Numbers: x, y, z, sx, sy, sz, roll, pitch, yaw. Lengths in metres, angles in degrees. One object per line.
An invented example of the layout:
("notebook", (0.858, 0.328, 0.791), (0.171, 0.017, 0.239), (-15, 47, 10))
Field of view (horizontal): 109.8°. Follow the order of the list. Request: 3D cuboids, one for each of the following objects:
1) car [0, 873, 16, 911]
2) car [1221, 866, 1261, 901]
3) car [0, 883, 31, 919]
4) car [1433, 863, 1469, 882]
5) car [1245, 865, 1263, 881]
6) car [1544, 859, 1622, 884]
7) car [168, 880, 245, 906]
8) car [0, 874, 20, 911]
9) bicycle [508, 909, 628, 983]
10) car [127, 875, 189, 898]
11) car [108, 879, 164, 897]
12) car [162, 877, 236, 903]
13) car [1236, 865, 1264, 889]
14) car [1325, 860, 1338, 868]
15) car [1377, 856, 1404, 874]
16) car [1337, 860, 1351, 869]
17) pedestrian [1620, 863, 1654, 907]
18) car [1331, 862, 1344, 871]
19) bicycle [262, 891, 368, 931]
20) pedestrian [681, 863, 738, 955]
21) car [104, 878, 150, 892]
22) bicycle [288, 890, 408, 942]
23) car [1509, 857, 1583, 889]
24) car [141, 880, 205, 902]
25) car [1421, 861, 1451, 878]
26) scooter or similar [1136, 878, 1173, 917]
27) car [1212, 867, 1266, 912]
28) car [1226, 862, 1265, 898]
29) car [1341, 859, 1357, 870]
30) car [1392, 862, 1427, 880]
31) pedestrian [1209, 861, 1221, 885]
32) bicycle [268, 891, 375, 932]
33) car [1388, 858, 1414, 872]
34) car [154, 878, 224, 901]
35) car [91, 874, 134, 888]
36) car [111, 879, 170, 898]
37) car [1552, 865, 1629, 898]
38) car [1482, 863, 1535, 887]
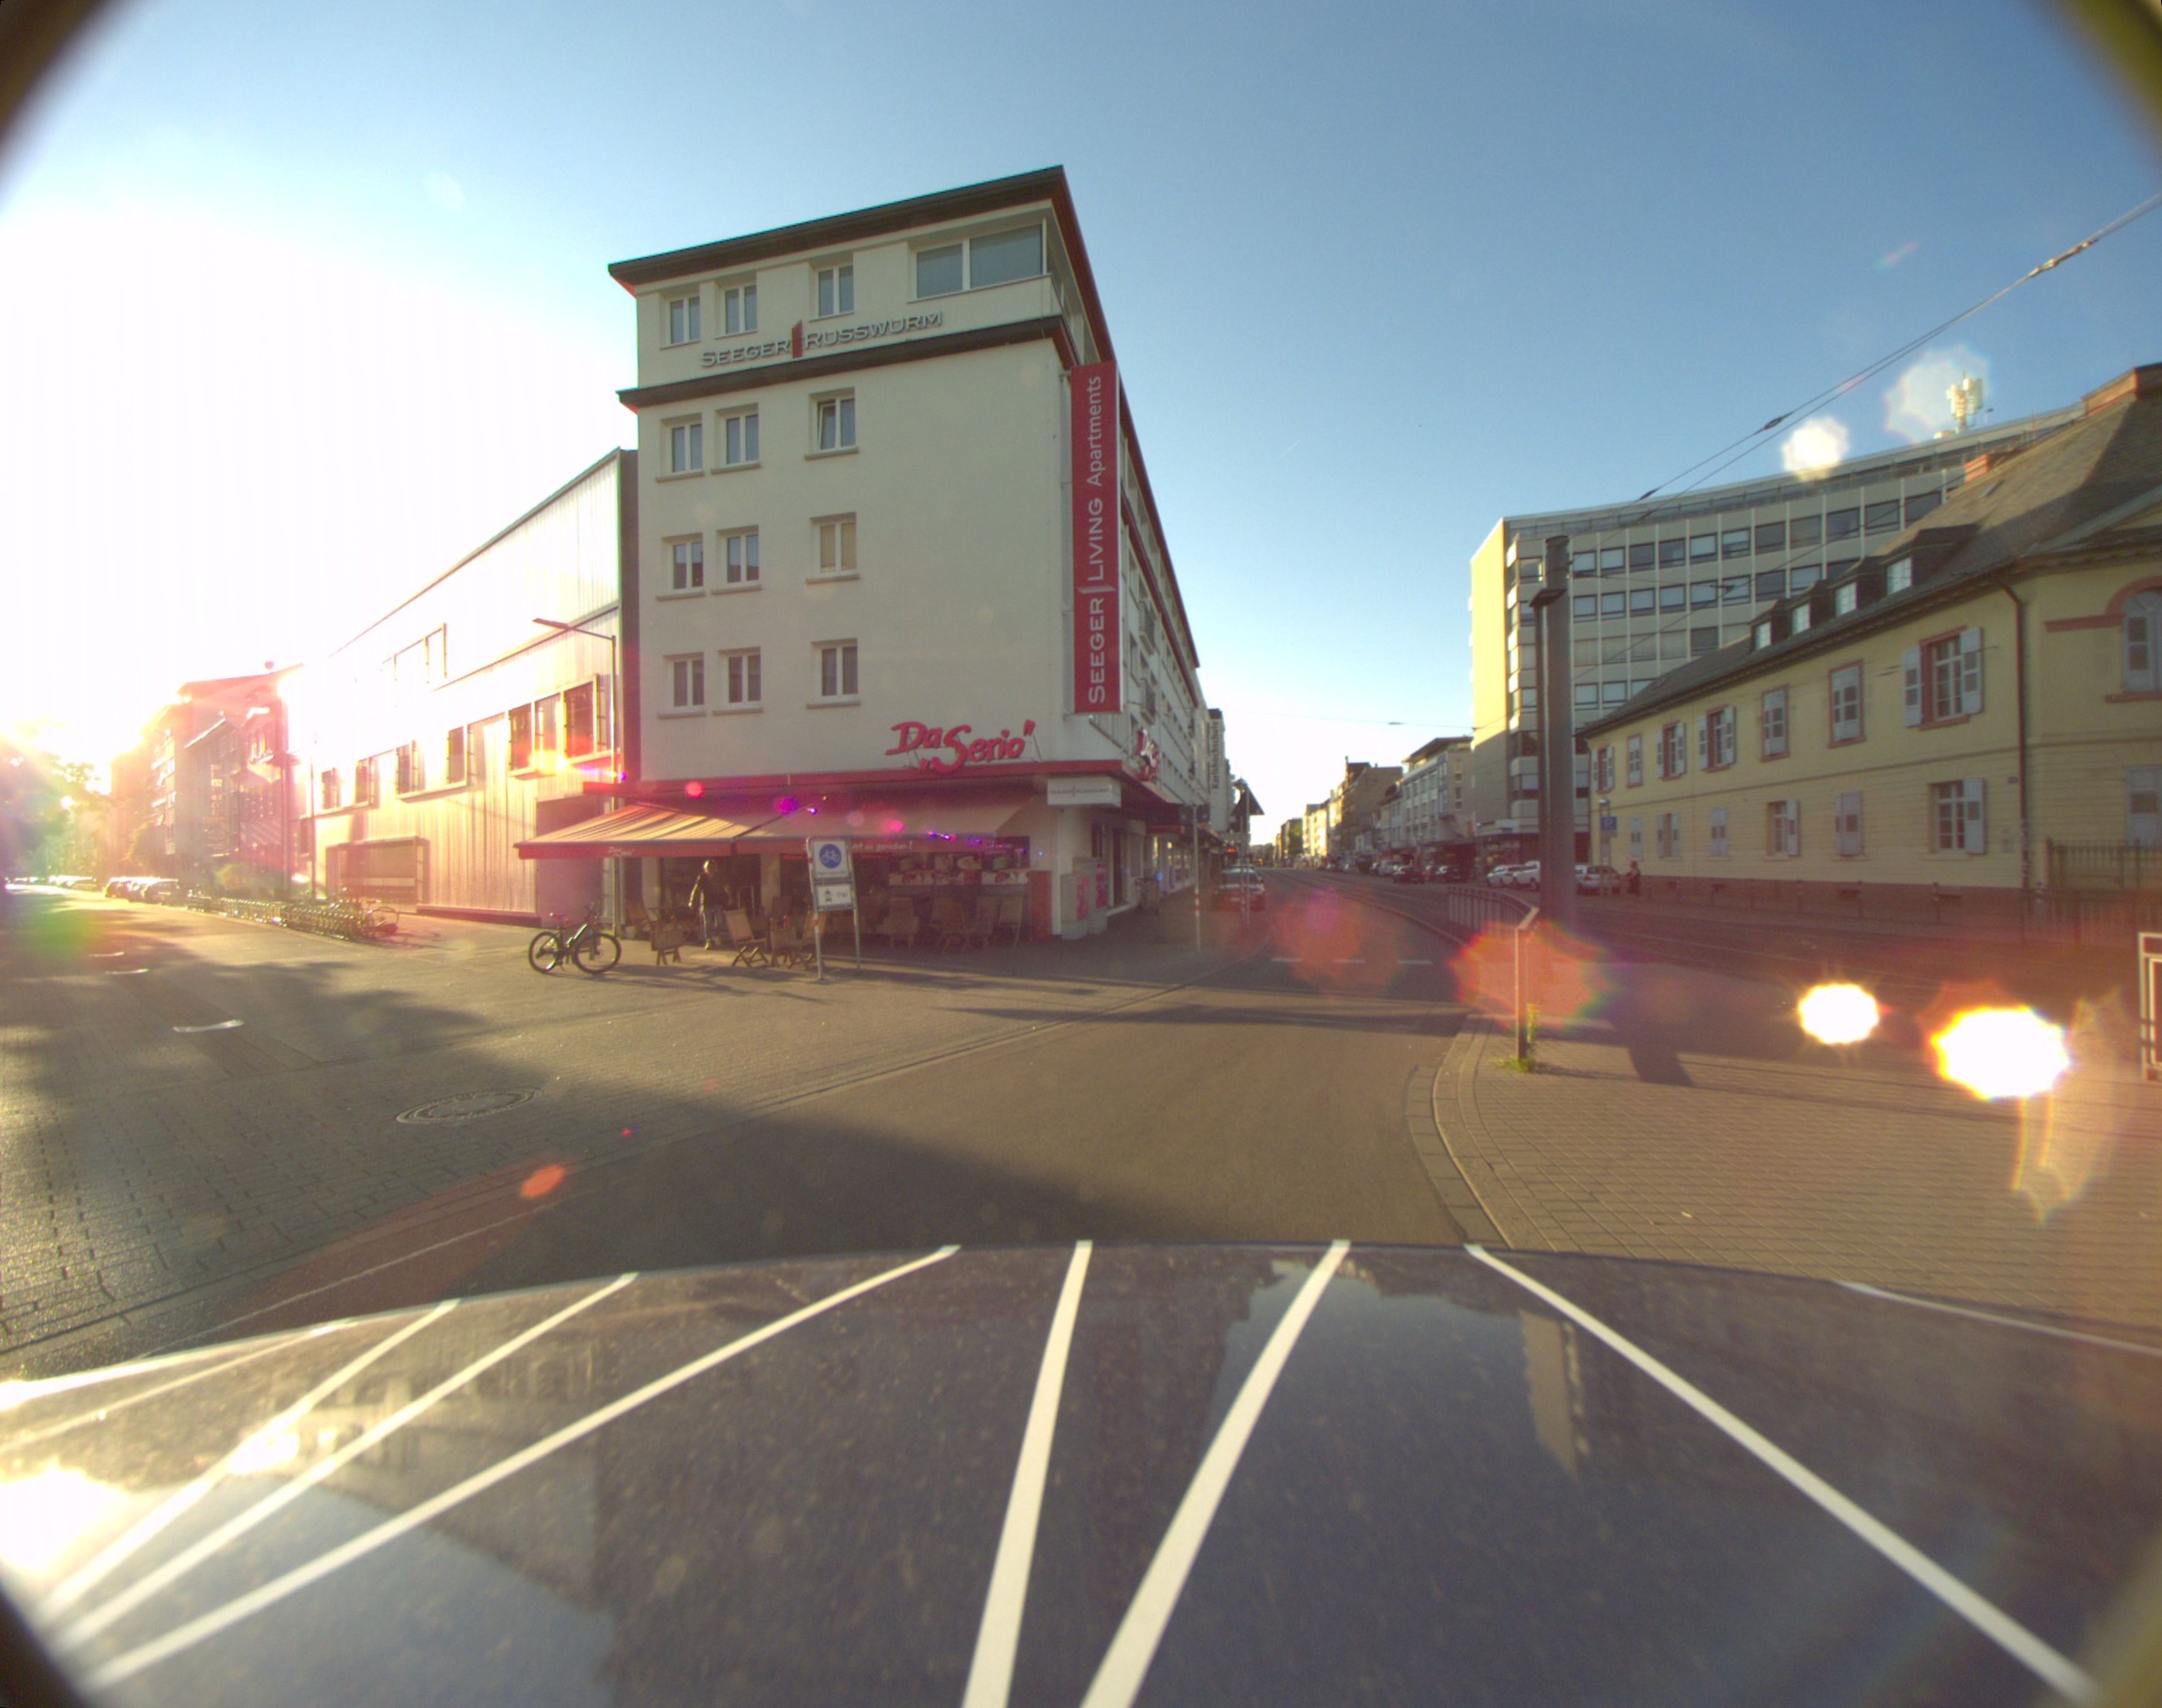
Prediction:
("car", (-56.973, 2.008, 37.901), (1.864, 1.965, 4.003), (-2, -1, 8))
("car", (7.424, 1.306, 35.167), (1.654, 1.412, 4.195), (-3, -1, 13))
("car", (-41.558, 1.781, 27.279), (1.999, 1.337, 4.153), (-1, -1, -2))
("car", (30.144, 1.503, 62.049), (1.694, 1.417, 3.970), (-3, -1, 13))
("car", (17.259, 1.867, 75.904), (1.657, 1.454, 4.027), (-3, -1, 13))
("car", (34.300, 1.182, 52.058), (3.994, 1.544, 1.916), (-3, 0, 11))
("car", (-48.360, 2.141, 42.058), (1.445, 1.239, 2.694), (-3, -1, 38))
("car", (-59.473, 2.110, 39.860), (1.843, 2.001, 4.003), (-2, -1, 8))
("bicycle", (-8.643, 1.532, 12.800), (1.907, 1.152, 0.537), (-1, 0, 15))
("car", (-64.626, 2.271, 53.237), (1.324, 1.421, 2.694), (-3, -1, 41))
("car", (-74.642, 2.703, 60.042), (1.400, 1.239, 2.694), (-3, -1, 35))
("car", (-51.152, 2.077, 44.110), (1.445, 1.351, 2.694), (-3, -1, 38))
("car", (11.946, 1.578, 53.987), (1.795, 1.524, 4.861), (-3, -1, 12))
("car", (51.490, 2.085, 156.195), (1.997, 1.411, 4.408), (-3, -1, 10))
("car", (36.811, 1.335, 90.380), (1.967, 2.001, 5.105), (-3, -1, 11))
("car", (44.466, 1.768, 128.628), (1.658, 1.561, 3.473), (-3, -1, 11))
("pedestrian", (19.574, 1.071, 26.765), (0.720, 1.527, 0.719), (0, 0, 8))
("car", (48.821, 2.377, 144.495), (1.844, 1.484, 3.820), (-3, -1, 13))
("bicycle", (-24.915, 1.831, 24.779), (0.527, 1.133, 2.348), (-3, -1, 30))
("pedestrian", (-7.632, 1.116, 15.644), (0.715, 1.815, 0.762), (-2, 1, 1))
("car", (-93.108, 3.010, 74.153), (1.445, 1.239, 2.694), (-1, -1, 35))
("bicycle", (-20.847, 1.729, 21.689), (0.604, 1.225, 2.348), (-1, 1, 30))
("car", (25.824, 1.038, 42.371), (1.890, 1.651, 4.766), (-3, -1, 11))
("car", (-59.564, 2.439, 49.843), (1.295, 1.292, 2.591), (-3, -1, 36))
("car", (31.293, 1.328, 67.081), (1.694, 1.425, 3.596), (-1, -1, 12))
("scooter or similar", (2.348, 1.369, 24.351), (0.336, 1.187, 1.435), (0, -1, -34))
("car", (5.969, 1.278, 28.607), (1.793, 1.404, 4.692), (-3, -1, 12))
("car", (8.811, 1.343, 40.644), (1.859, 1.690, 4.422), (-3, -1, 12))
("car", (43.724, 1.695, 124.208), (1.894, 1.547, 4.627), (-3, -1, 13))
("car", (26.289, 1.354, 60.894), (1.769, 1.368, 4.227), (-1, -1, 12))
("pedestrian", (9.115, 1.296, 51.770), (0.734, 1.564, 0.968), (-1, 0, 12))
("bicycle", (-24.417, 1.817, 24.479), (0.527, 1.138, 2.348), (-2, 0, 30))
("car", (35.013, 1.210, 83.217), (1.875, 1.418, 4.576), (-3, -1, 13))
("car", (-55.228, 2.207, 47.056), (1.445, 1.239, 2.694), (-3, -1, 38))
("car", (-101.885, 2.822, 79.958), (1.262, 1.271, 2.694), (-3, -1, 35))
("car", (-70.782, 2.580, 57.206), (1.445, 1.239, 2.694), (-3, -1, 35))
("car", (24.763, 1.289, 37.084), (1.751, 1.465, 4.005), (-3, -1, 12))
("car", (27.342, 1.318, 48.693), (1.723, 1.444, 4.288), (-3, -1, 12))
